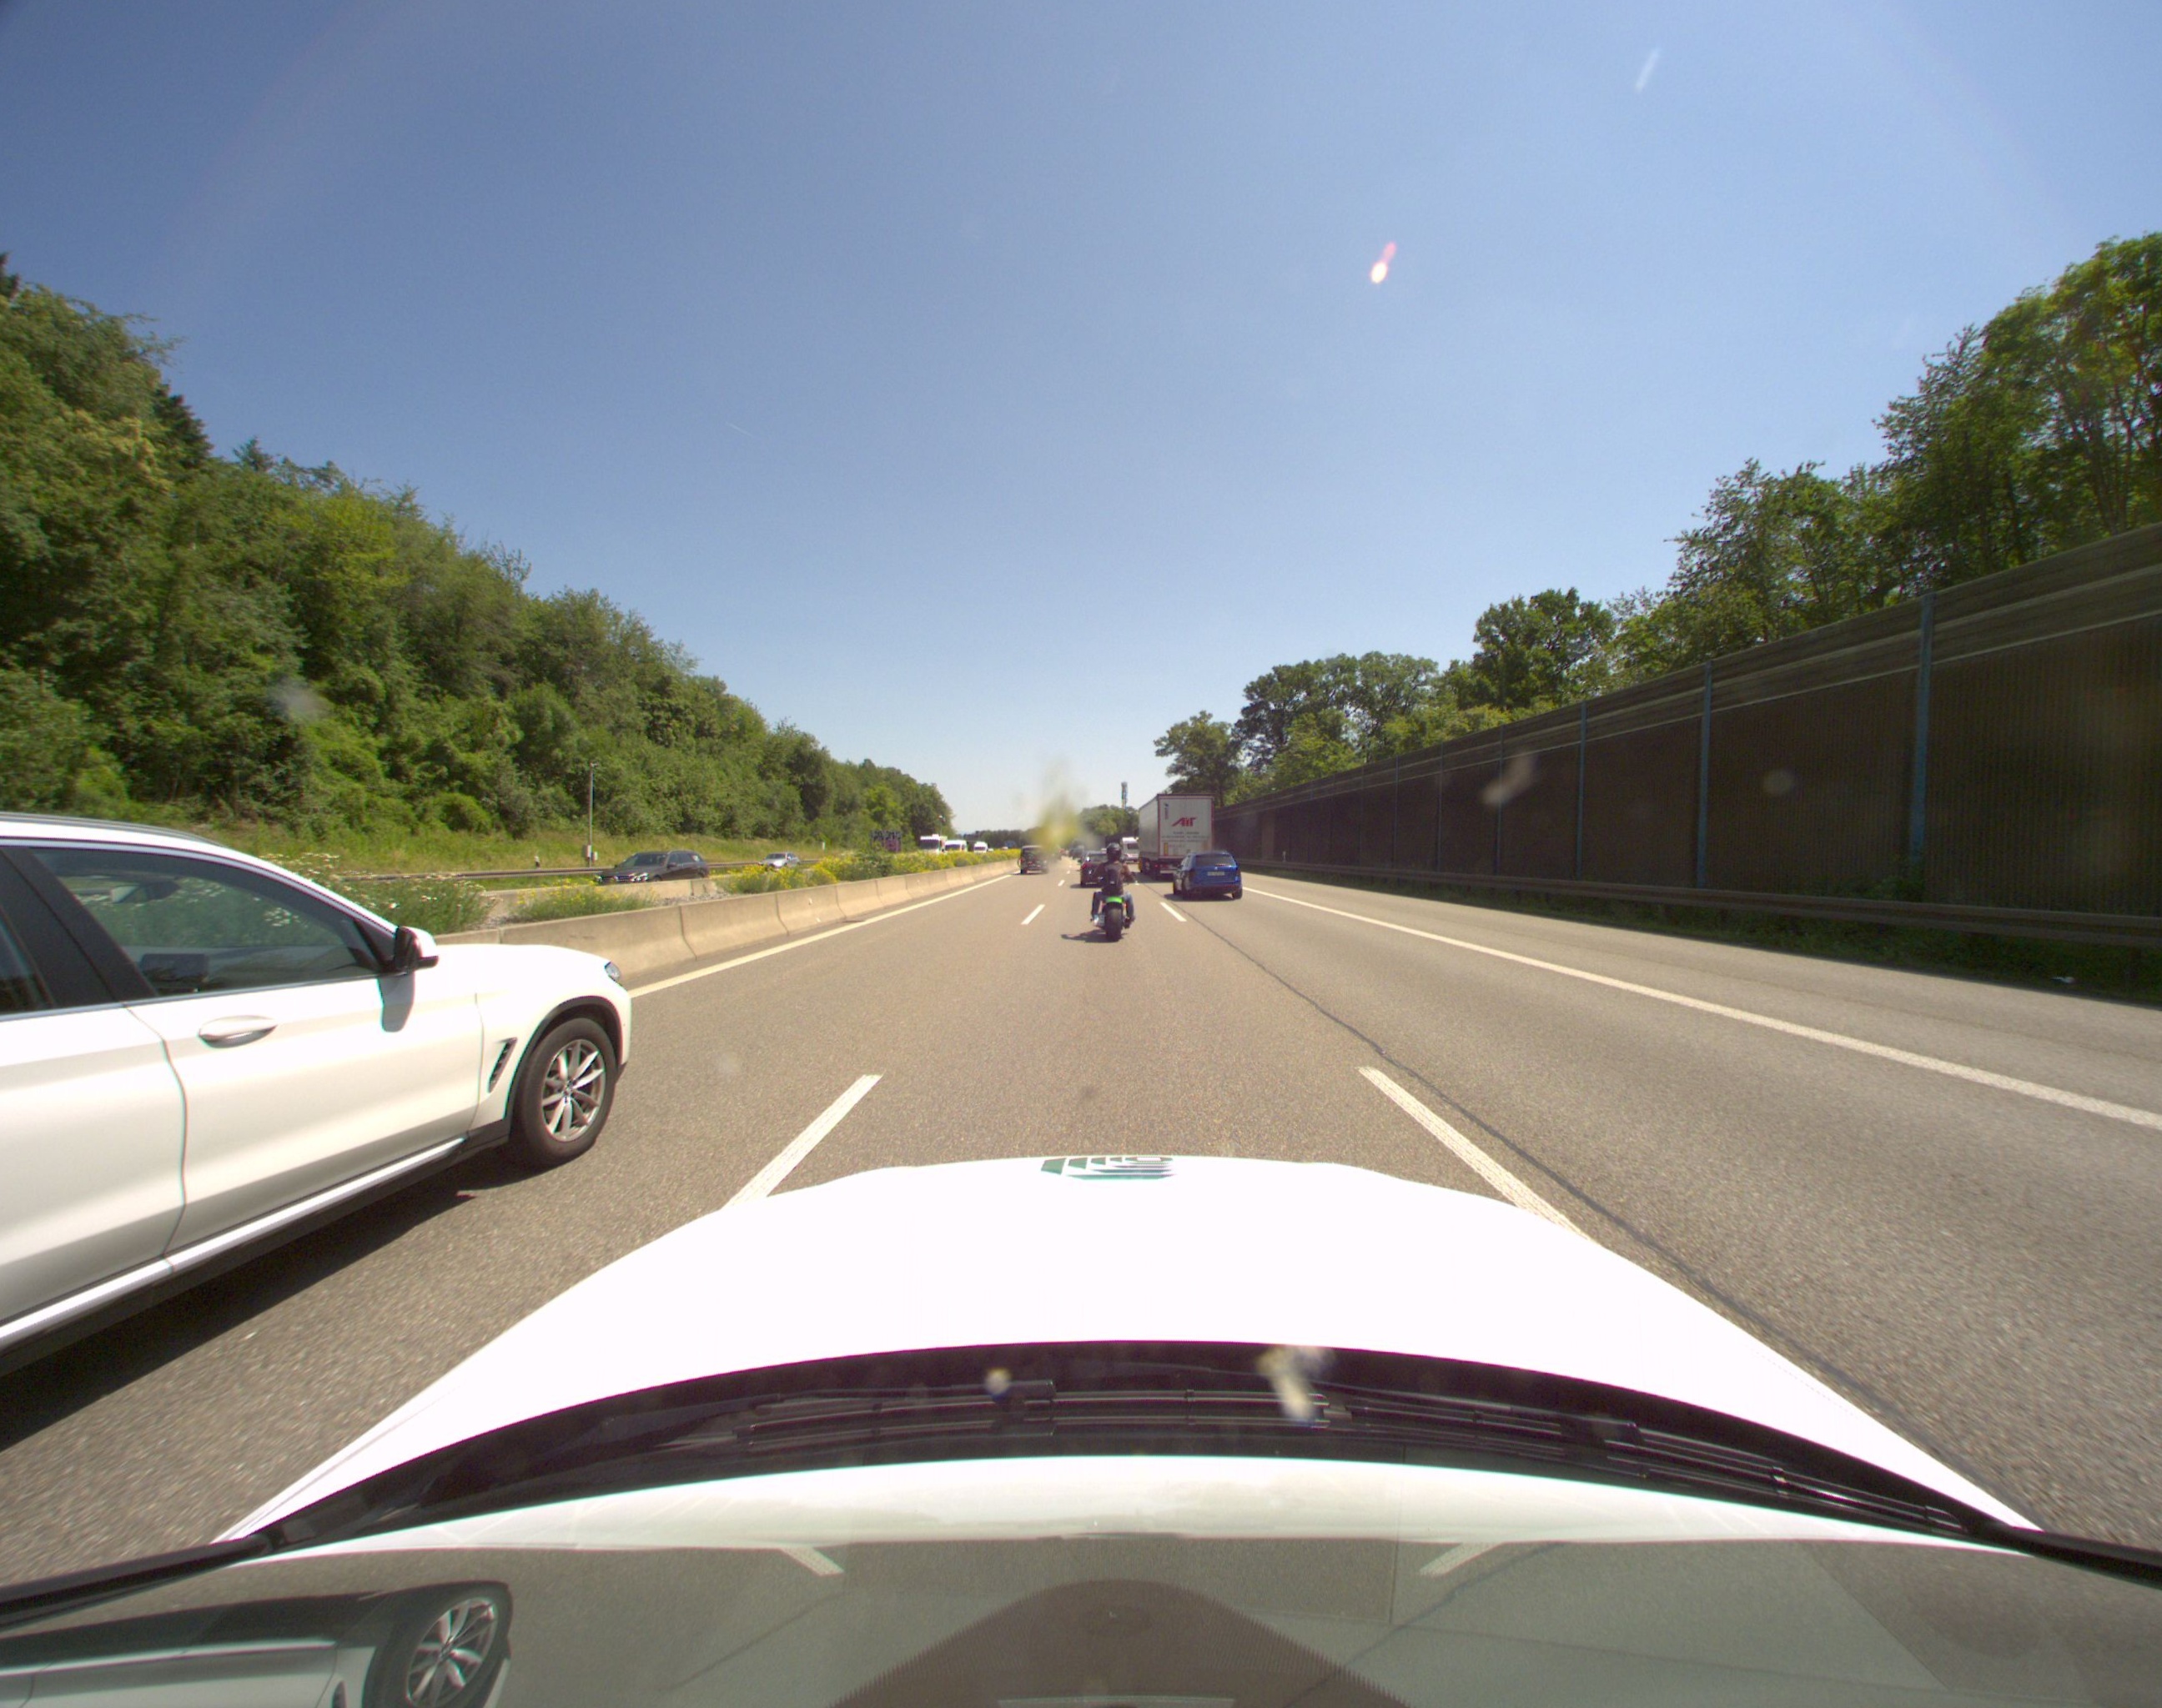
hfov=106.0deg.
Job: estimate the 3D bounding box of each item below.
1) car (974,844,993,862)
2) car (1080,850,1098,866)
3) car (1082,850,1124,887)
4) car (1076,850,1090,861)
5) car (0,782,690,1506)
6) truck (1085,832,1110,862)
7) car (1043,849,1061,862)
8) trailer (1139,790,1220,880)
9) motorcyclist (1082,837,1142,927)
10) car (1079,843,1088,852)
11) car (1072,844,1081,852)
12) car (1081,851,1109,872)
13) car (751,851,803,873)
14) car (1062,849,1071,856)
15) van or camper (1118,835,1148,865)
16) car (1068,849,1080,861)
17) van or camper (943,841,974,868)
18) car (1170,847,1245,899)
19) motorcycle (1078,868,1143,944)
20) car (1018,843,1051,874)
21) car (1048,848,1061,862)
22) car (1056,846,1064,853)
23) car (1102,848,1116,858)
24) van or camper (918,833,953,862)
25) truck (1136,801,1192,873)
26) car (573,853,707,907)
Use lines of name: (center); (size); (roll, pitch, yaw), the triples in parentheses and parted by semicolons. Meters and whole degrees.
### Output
car: (-15.525, -0.171, 129.753); (2.193, 2.741, 5.746); (-1, 0, 0)
car: (0.836, 0.411, 82.457); (1.773, 1.552, 3.586); (0, 0, 2)
car: (0.897, 0.604, 34.611); (1.657, 1.453, 3.868); (-1, -1, 0)
car: (0.275, 0.238, 118.165); (1.988, 1.640, 3.996); (-1, -1, -2)
car: (-3.454, 0.693, 2.664); (1.857, 1.694, 4.957); (-1, 0, 1)
truck: (2.875, -1.169, 144.882); (3.794, 4.960, 8.939); (-1, -1, -3)
car: (-3.237, 0.210, 92.470); (1.988, 1.387, 3.997); (-1, -1, -2)
trailer: (4.955, -0.889, 43.816); (2.875, 4.038, 13.797); (-1, 0, 1)
motorcyclist: (0.570, 0.475, 14.306); (0.895, 1.475, 1.875); (-1, -1, 6)
car: (0.546, -1.568, 196.089); (2.102, 1.876, 3.998); (-1, -1, -1)
car: (-1.096, -1.457, 201.653); (2.102, 1.876, 3.998); (-1, -1, -1)
car: (1.058, 0.566, 59.917); (1.986, 1.430, 3.847); (-1, -1, 1)
car: (-21.097, 0.503, 56.684); (1.986, 1.432, 4.192); (-1, 0, 1)
car: (-3.130, -0.257, 173.883); (1.827, 1.496, 3.742); (-1, -1, -1)
van or camper: (5.132, -0.324, 81.476); (2.675, 2.813, 6.804); (-1, -1, 1)
car: (-1.254, 0.222, 147.111); (1.908, 2.014, 3.684); (-1, -1, -5)
van or camper: (-13.653, 0.001, 91.253); (2.250, 2.899, 6.558); (-1, 0, 1)
car: (3.924, 0.580, 25.907); (1.645, 1.483, 4.480); (-1, -1, 0)
motorcycle: (0.574, 0.854, 14.394); (0.960, 1.148, 2.816); (0, 0, 6)
car: (-2.992, 0.304, 53.265); (1.893, 1.874, 4.411); (-1, -1, -1)
car: (-3.811, 0.142, 115.590); (1.787, 2.014, 3.639); (-1, -1, -2)
car: (-5.153, -1.162, 201.924); (1.826, 1.496, 3.743); (-1, -1, 1)
car: (4.345, -0.165, 127.554); (1.988, 1.574, 3.997); (-1, -1, -2)
van or camper: (-17.840, -0.726, 100.408); (2.531, 3.317, 9.001); (-1, -1, 0)
truck: (5.068, -1.007, 50.666); (2.876, 4.146, 5.986); (-1, 0, 0)
car: (-14.446, 0.794, 27.012); (1.986, 1.587, 4.275); (-1, 0, 2)
